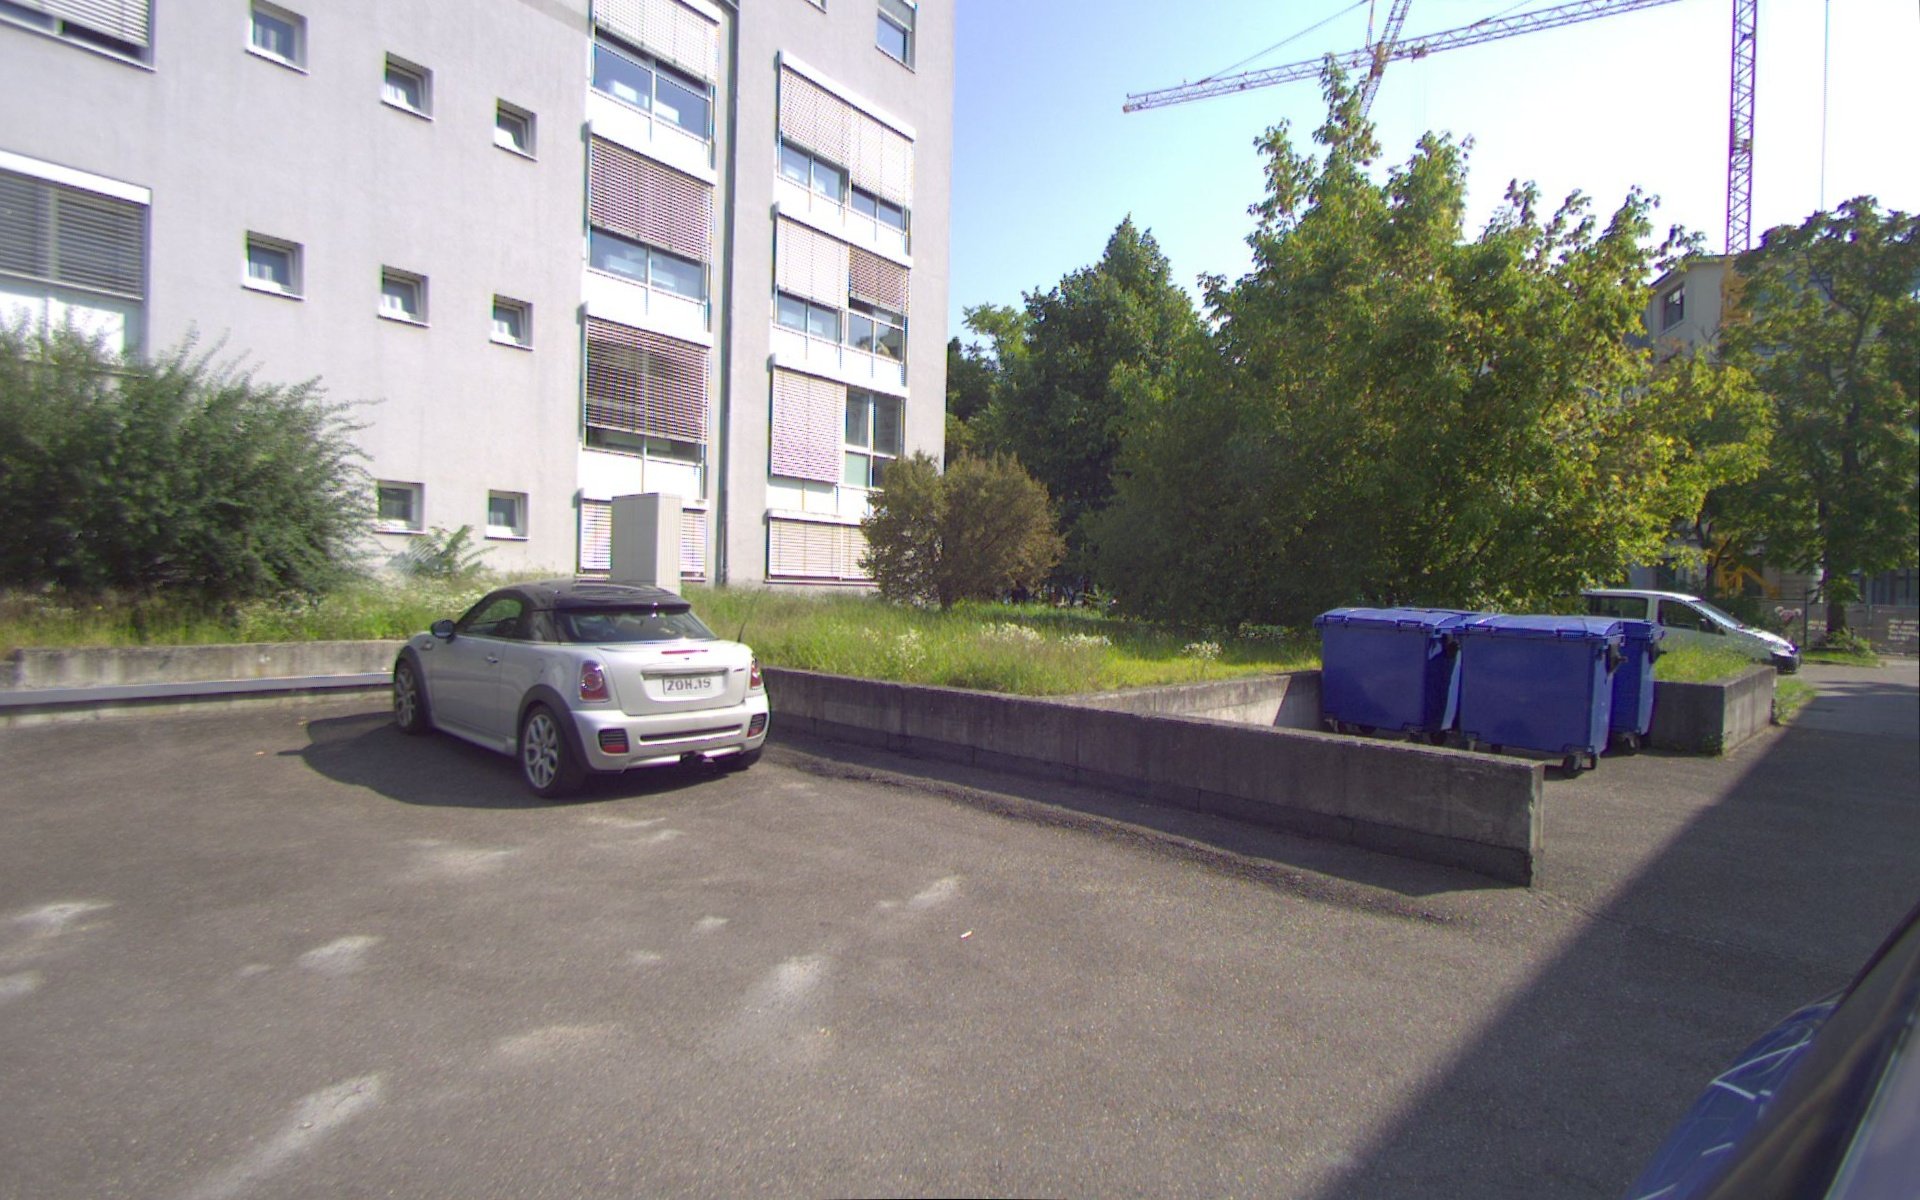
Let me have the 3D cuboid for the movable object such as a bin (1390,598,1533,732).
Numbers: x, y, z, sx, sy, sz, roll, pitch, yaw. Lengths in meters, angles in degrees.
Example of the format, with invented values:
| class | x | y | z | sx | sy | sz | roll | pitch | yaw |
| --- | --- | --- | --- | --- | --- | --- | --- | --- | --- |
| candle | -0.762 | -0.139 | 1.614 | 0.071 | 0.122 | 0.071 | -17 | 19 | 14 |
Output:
| class | x | y | z | sx | sy | sz | roll | pitch | yaw |
| --- | --- | --- | --- | --- | --- | --- | --- | --- | --- |
| movable object such as a bin | 5.606 | 0.677 | 11.309 | 1.224 | 1.357 | 1.061 | 1 | 1 | 39 |

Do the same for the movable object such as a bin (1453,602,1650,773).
| class | x | y | z | sx | sy | sz | roll | pitch | yaw |
| --- | --- | --- | --- | --- | --- | --- | --- | --- | --- |
| movable object such as a bin | 5.342 | 0.716 | 9.137 | 1.300 | 1.357 | 1.176 | 2 | 1 | 43 |

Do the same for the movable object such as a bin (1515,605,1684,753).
| class | x | y | z | sx | sy | sz | roll | pitch | yaw |
| --- | --- | --- | --- | --- | --- | --- | --- | --- | --- |
| movable object such as a bin | 6.548 | 0.747 | 10.369 | 1.308 | 1.357 | 1.084 | 1 | 1 | 41 |

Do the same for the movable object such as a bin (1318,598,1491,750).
| class | x | y | z | sx | sy | sz | roll | pitch | yaw |
| --- | --- | --- | --- | --- | --- | --- | --- | --- | --- |
| movable object such as a bin | 4.426 | 0.675 | 10.099 | 1.098 | 1.357 | 1.236 | 0 | 1 | -43 |

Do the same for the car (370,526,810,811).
| class | x | y | z | sx | sy | sz | roll | pitch | yaw |
| --- | --- | --- | --- | --- | --- | --- | --- | --- | --- |
| car | -3.066 | 0.330 | 8.038 | 3.620 | 1.563 | 1.775 | 7 | 5 | 42 |

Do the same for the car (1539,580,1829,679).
| class | x | y | z | sx | sy | sz | roll | pitch | yaw |
| --- | --- | --- | --- | --- | --- | --- | --- | --- | --- |
| car | 15.899 | 0.532 | 22.440 | 2.010 | 1.945 | 4.961 | 0 | 1 | -44 |
